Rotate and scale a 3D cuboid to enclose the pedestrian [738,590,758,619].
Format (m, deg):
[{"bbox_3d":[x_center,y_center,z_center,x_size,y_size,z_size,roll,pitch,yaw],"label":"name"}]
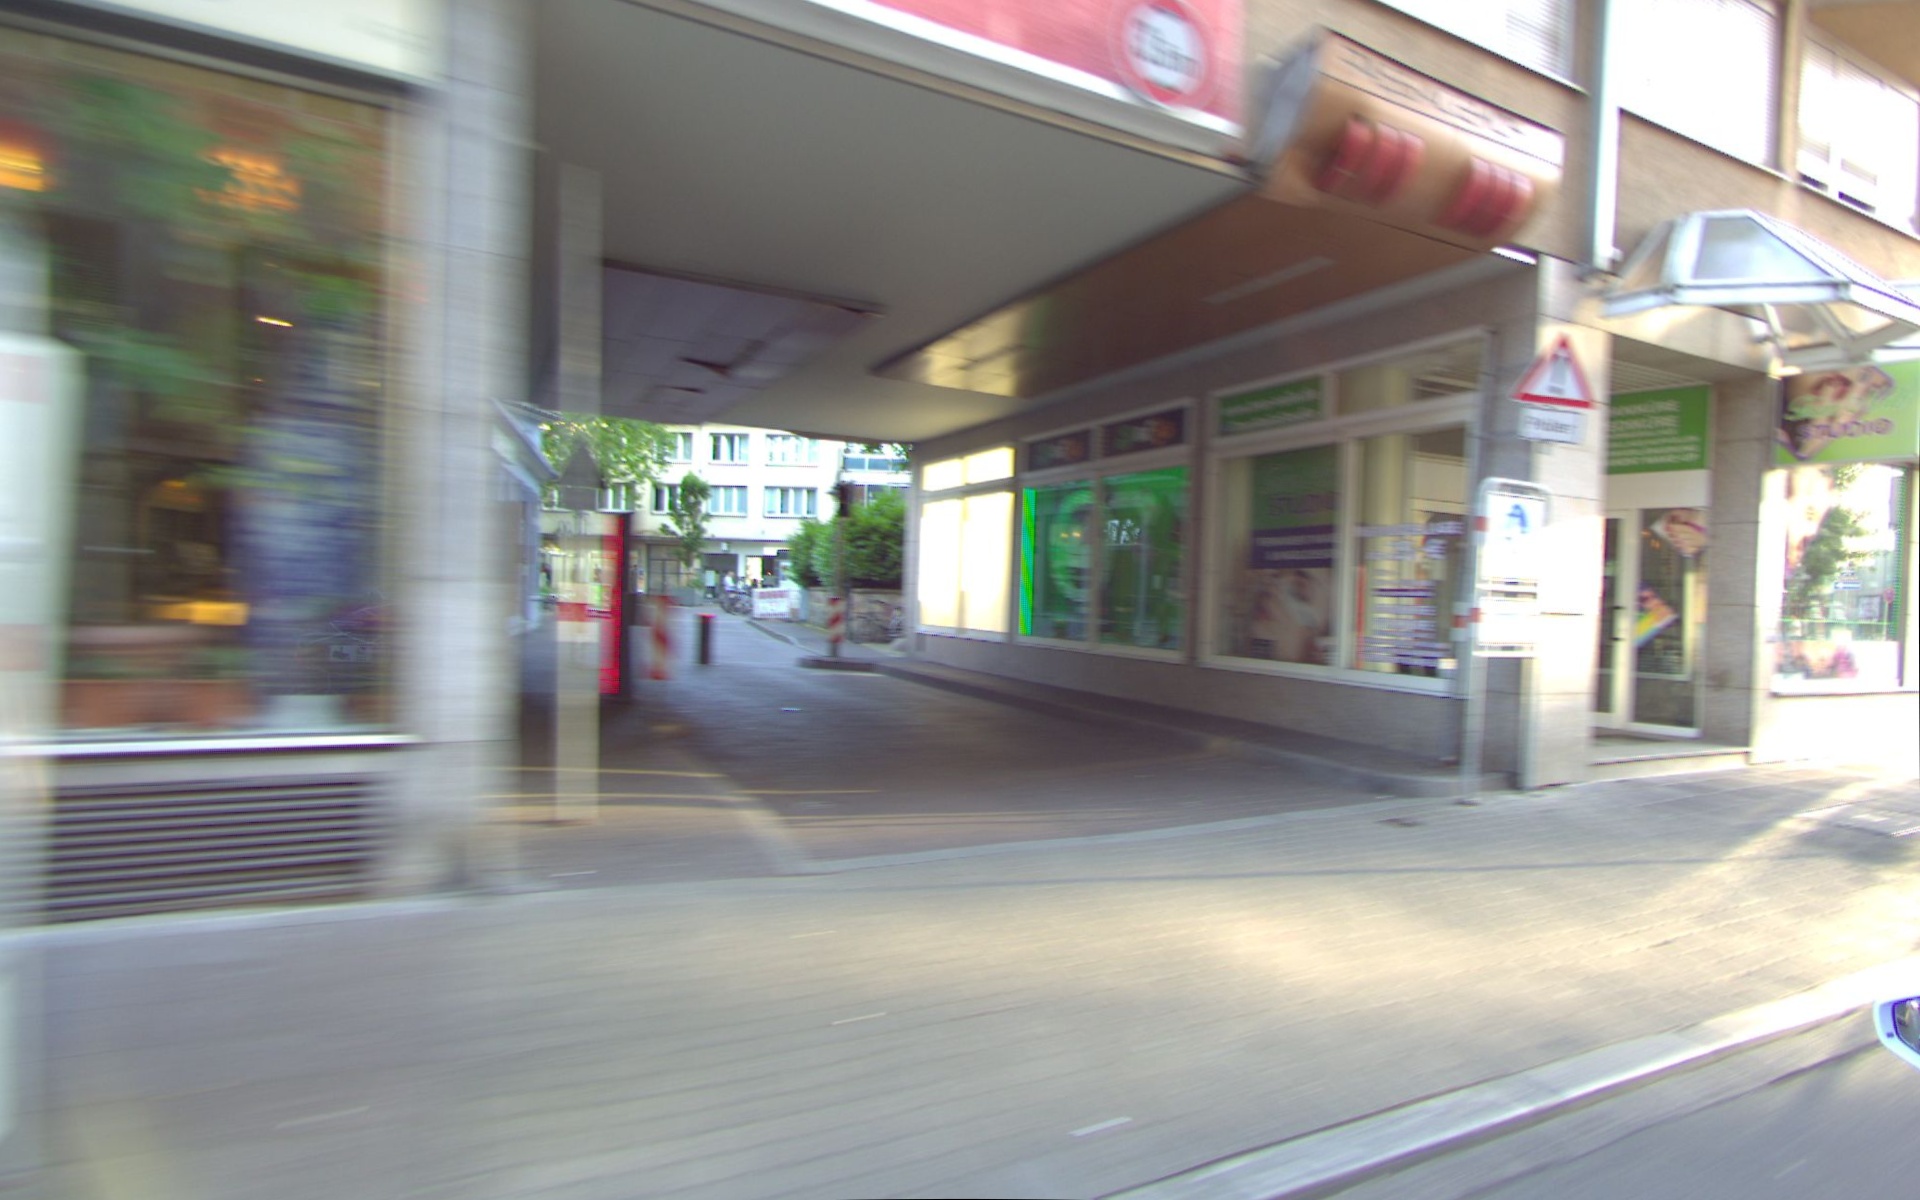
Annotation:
[{"bbox_3d":[-8.369,0.178,39.629,0.663,1.077,0.596,2,1,-21],"label":"pedestrian"}]

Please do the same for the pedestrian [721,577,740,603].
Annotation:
[{"bbox_3d":[-9.893,-0.429,43.262,0.660,1.077,0.599,2,1,-3],"label":"pedestrian"}]

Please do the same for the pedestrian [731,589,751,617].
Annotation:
[{"bbox_3d":[-8.896,0.130,40.836,0.663,1.077,0.596,2,1,-21],"label":"pedestrian"}]

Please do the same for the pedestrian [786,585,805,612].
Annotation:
[{"bbox_3d":[-6.741,-0.050,41.077,0.660,1.077,0.599,2,1,-3],"label":"pedestrian"}]

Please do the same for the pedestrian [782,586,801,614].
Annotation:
[{"bbox_3d":[-6.759,-0.006,40.283,0.660,1.077,0.599,2,1,-3],"label":"pedestrian"}]
